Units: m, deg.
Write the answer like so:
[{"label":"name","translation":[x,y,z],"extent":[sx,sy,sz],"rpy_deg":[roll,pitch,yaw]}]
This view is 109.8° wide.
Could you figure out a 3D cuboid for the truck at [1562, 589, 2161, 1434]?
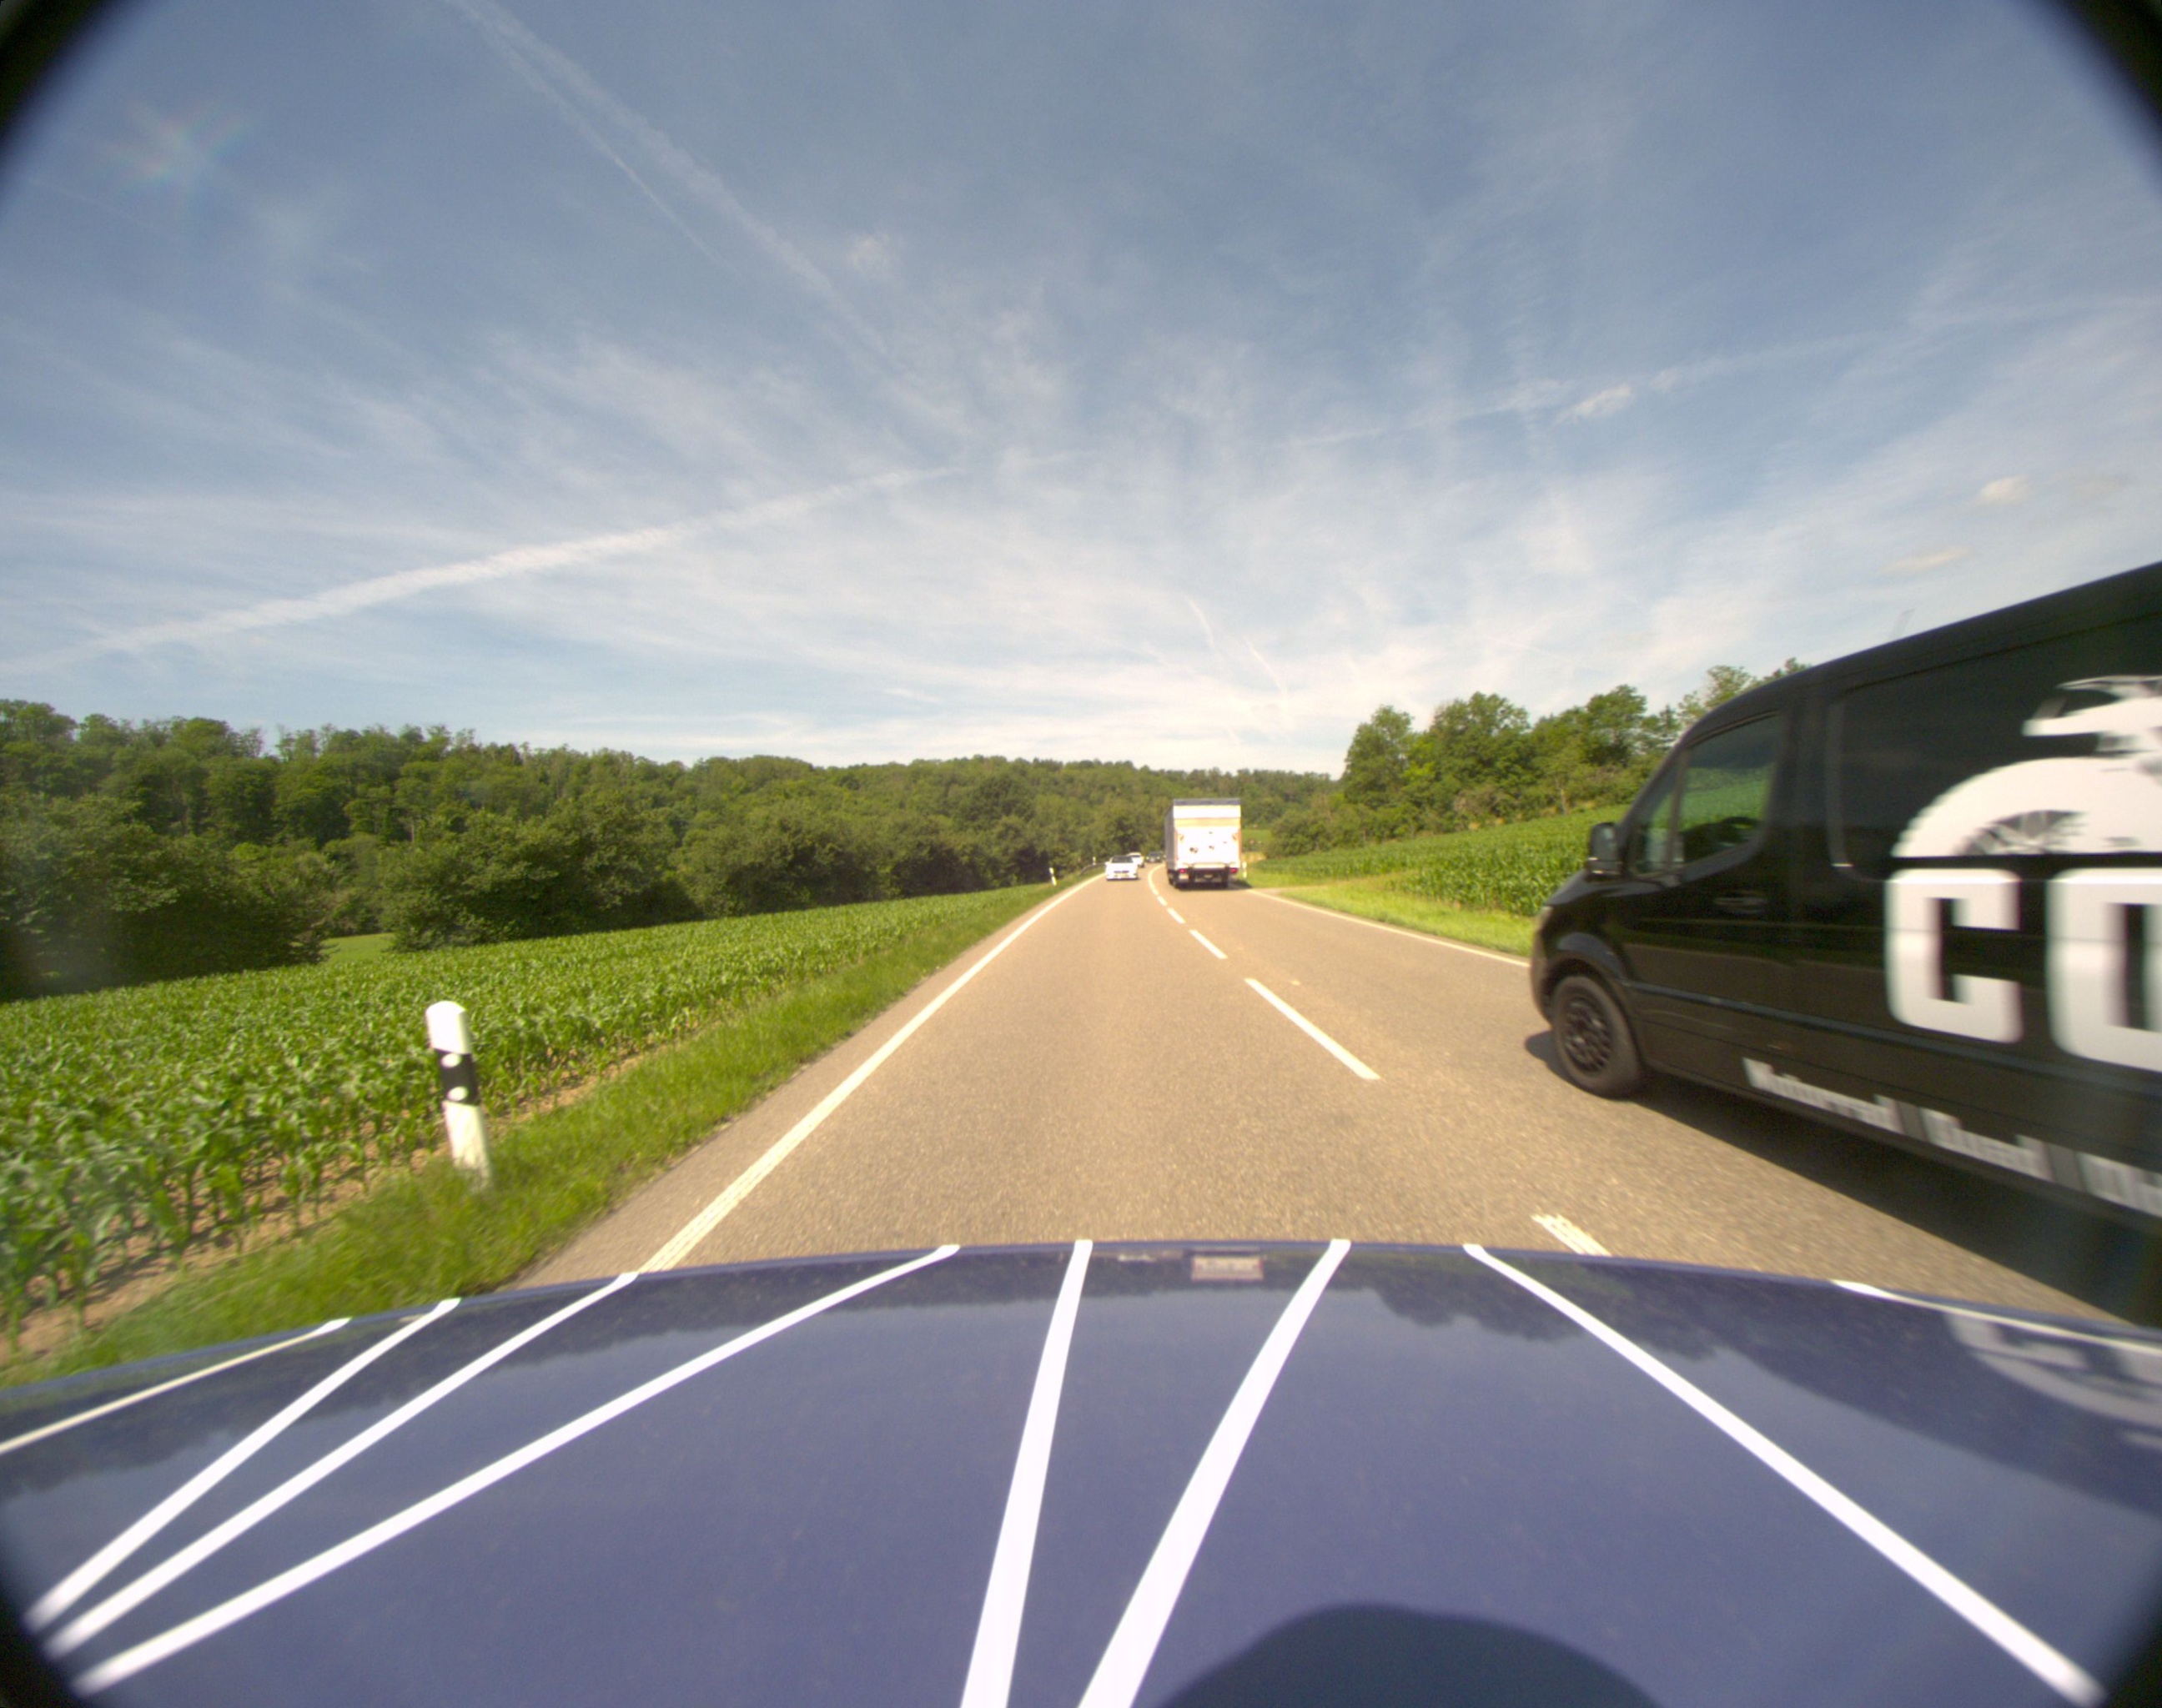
[{"label":"truck","translation":[3.940,0.408,2.035],"extent":[2.015,2.306,5.191],"rpy_deg":[-2,0,1]}]

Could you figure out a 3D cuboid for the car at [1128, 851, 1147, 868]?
[{"label":"car","translation":[5.816,0.506,77.879],"extent":[1.716,1.523,4.001],"rpy_deg":[-2,1,7]}]

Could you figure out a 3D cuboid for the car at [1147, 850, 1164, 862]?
[{"label":"car","translation":[10.090,0.310,102.655],"extent":[1.741,1.445,4.039],"rpy_deg":[-2,1,13]}]

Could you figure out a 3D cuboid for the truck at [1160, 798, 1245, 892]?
[{"label":"truck","translation":[5.230,-0.359,34.382],"extent":[2.747,3.558,9.728],"rpy_deg":[-2,0,4]}]

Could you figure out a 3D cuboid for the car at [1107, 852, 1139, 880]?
[{"label":"car","translation":[2.582,0.681,45.705],"extent":[1.742,1.445,4.036],"rpy_deg":[-2,1,5]}]

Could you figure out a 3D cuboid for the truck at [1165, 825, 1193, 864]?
[{"label":"truck","translation":[11.381,-1.053,87.760],"extent":[2.776,3.975,17.036],"rpy_deg":[-2,0,8]}]
